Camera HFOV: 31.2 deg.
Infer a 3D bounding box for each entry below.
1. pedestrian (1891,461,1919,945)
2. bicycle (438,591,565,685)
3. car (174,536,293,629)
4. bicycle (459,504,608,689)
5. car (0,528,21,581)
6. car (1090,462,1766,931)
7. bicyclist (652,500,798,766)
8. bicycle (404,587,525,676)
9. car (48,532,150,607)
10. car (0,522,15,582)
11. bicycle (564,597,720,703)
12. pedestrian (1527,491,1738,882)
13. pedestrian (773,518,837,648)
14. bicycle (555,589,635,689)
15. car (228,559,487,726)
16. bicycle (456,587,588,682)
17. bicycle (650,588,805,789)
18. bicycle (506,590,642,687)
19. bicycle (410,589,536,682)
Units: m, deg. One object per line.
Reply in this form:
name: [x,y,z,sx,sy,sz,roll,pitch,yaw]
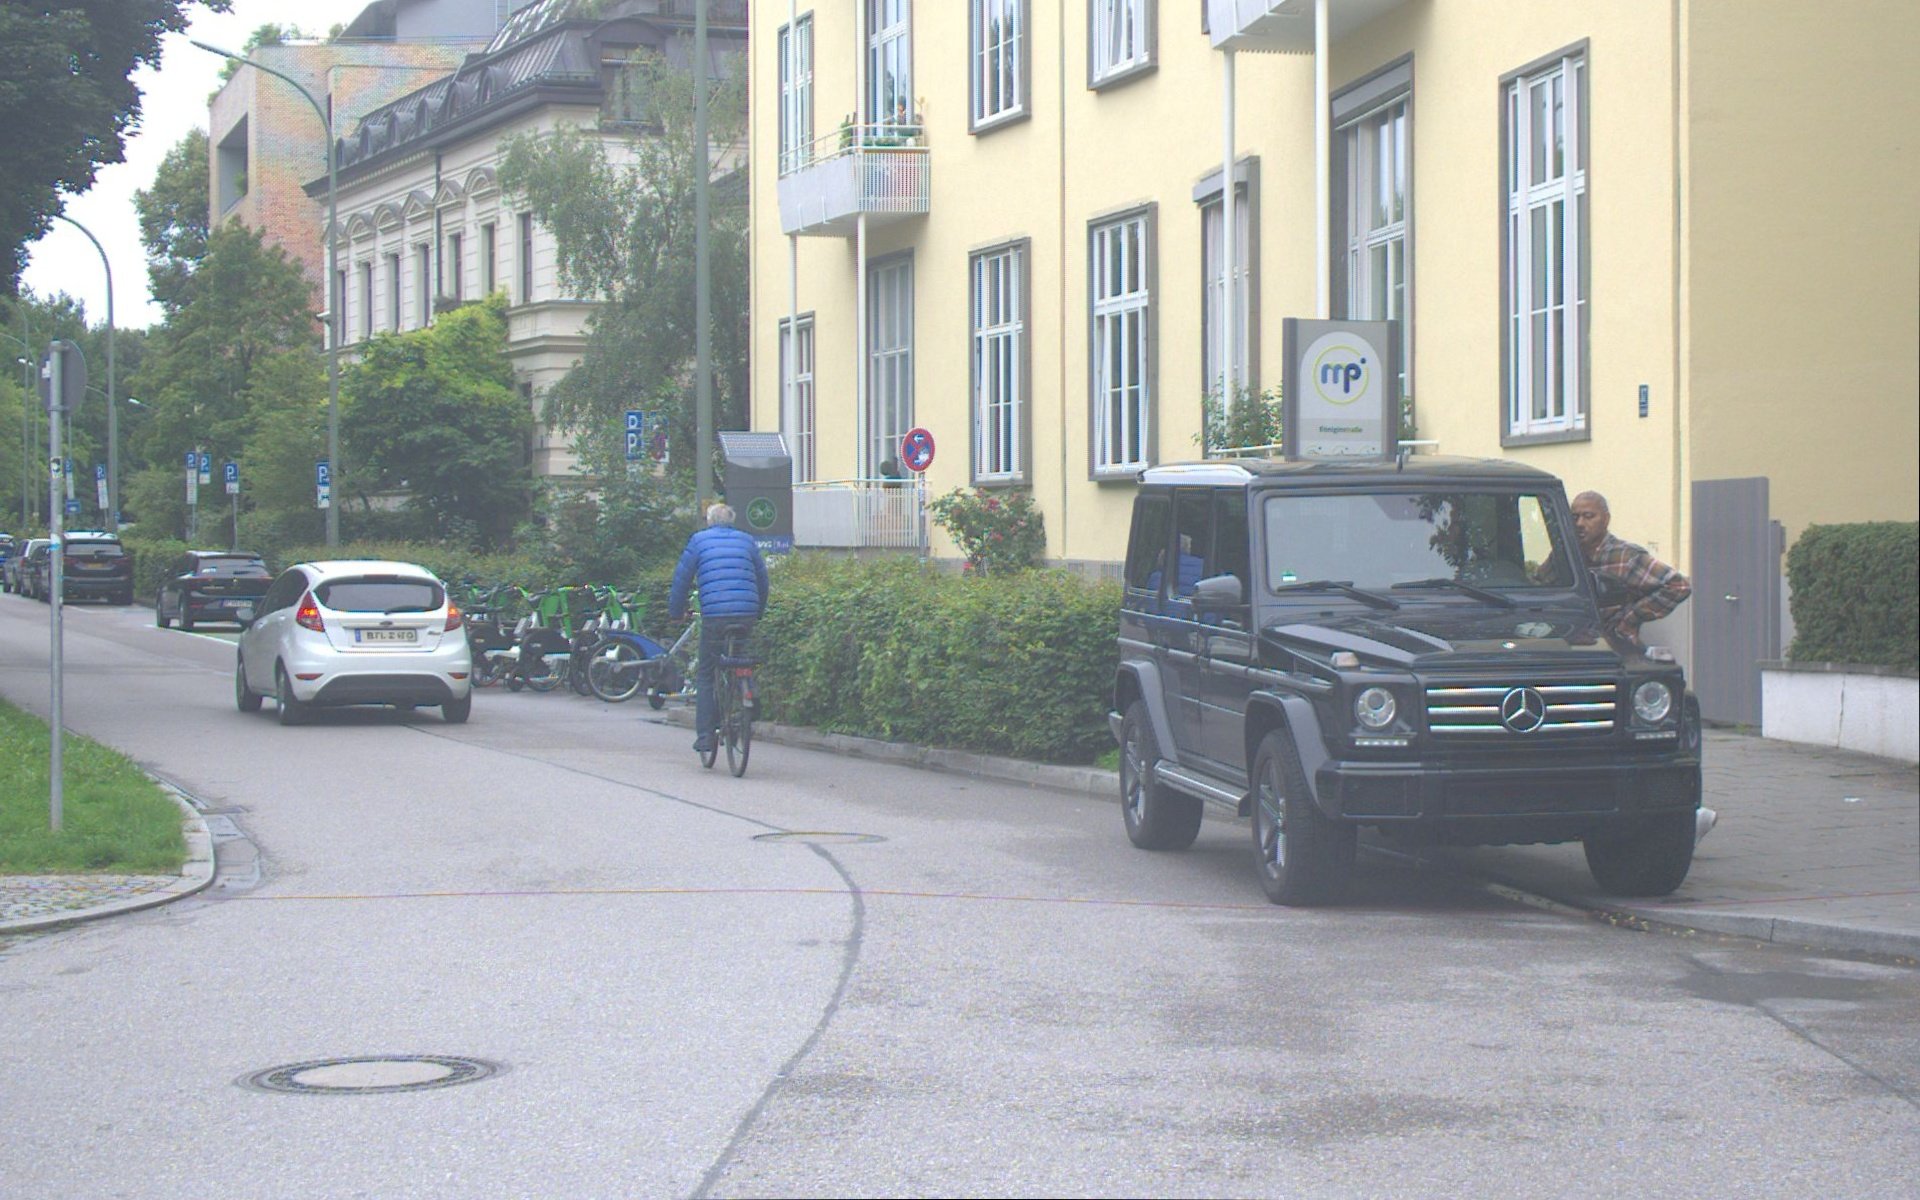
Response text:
pedestrian: [3.851,0.359,12.608,0.827,1.740,0.740,0,1,15]
bicycle: [-5.281,0.431,39.646,0.409,1.011,1.534,-1,2,41]
car: [-12.808,-0.332,60.490,1.646,1.553,3.560,-1,1,-18]
bicycle: [-4.782,-0.051,38.607,0.456,2.007,1.673,0,2,45]
car: [-30.000,-1.399,105.210,1.993,1.595,4.255,-1,1,-21]
car: [2.016,0.339,16.330,1.873,1.881,4.620,-1,1,-9]
bicyclist: [-1.620,0.207,23.535,0.914,1.758,1.215,-1,1,-7]
bicycle: [-6.018,0.375,41.788,0.409,1.011,1.534,-1,2,41]
car: [-20.112,-0.739,80.215,1.792,1.674,4.001,-1,1,-21]
car: [-32.587,-1.599,114.301,2.065,1.959,4.979,-1,1,-17]
bicycle: [-3.264,0.507,35.336,1.532,1.011,0.367,-2,1,-21]
pedestrian: [3.110,0.380,15.980,0.848,1.751,0.953,-1,1,6]
pedestrian: [-2.043,-0.232,45.227,0.631,1.678,0.698,-2,1,-18]
bicycle: [-3.935,0.414,37.183,0.366,1.011,1.537,-1,1,12]
car: [-5.597,0.338,31.621,1.747,1.401,3.728,-1,1,-19]
bicycle: [-4.983,0.389,39.188,0.409,1.011,1.534,0,2,45]
bicycle: [-1.618,0.571,23.548,0.920,1.248,2.322,-1,1,-7]
bicycle: [-4.294,0.418,38.284,1.533,1.011,0.367,-3,2,-40]
bicycle: [-5.656,0.406,39.983,0.409,1.011,1.534,-1,2,41]
